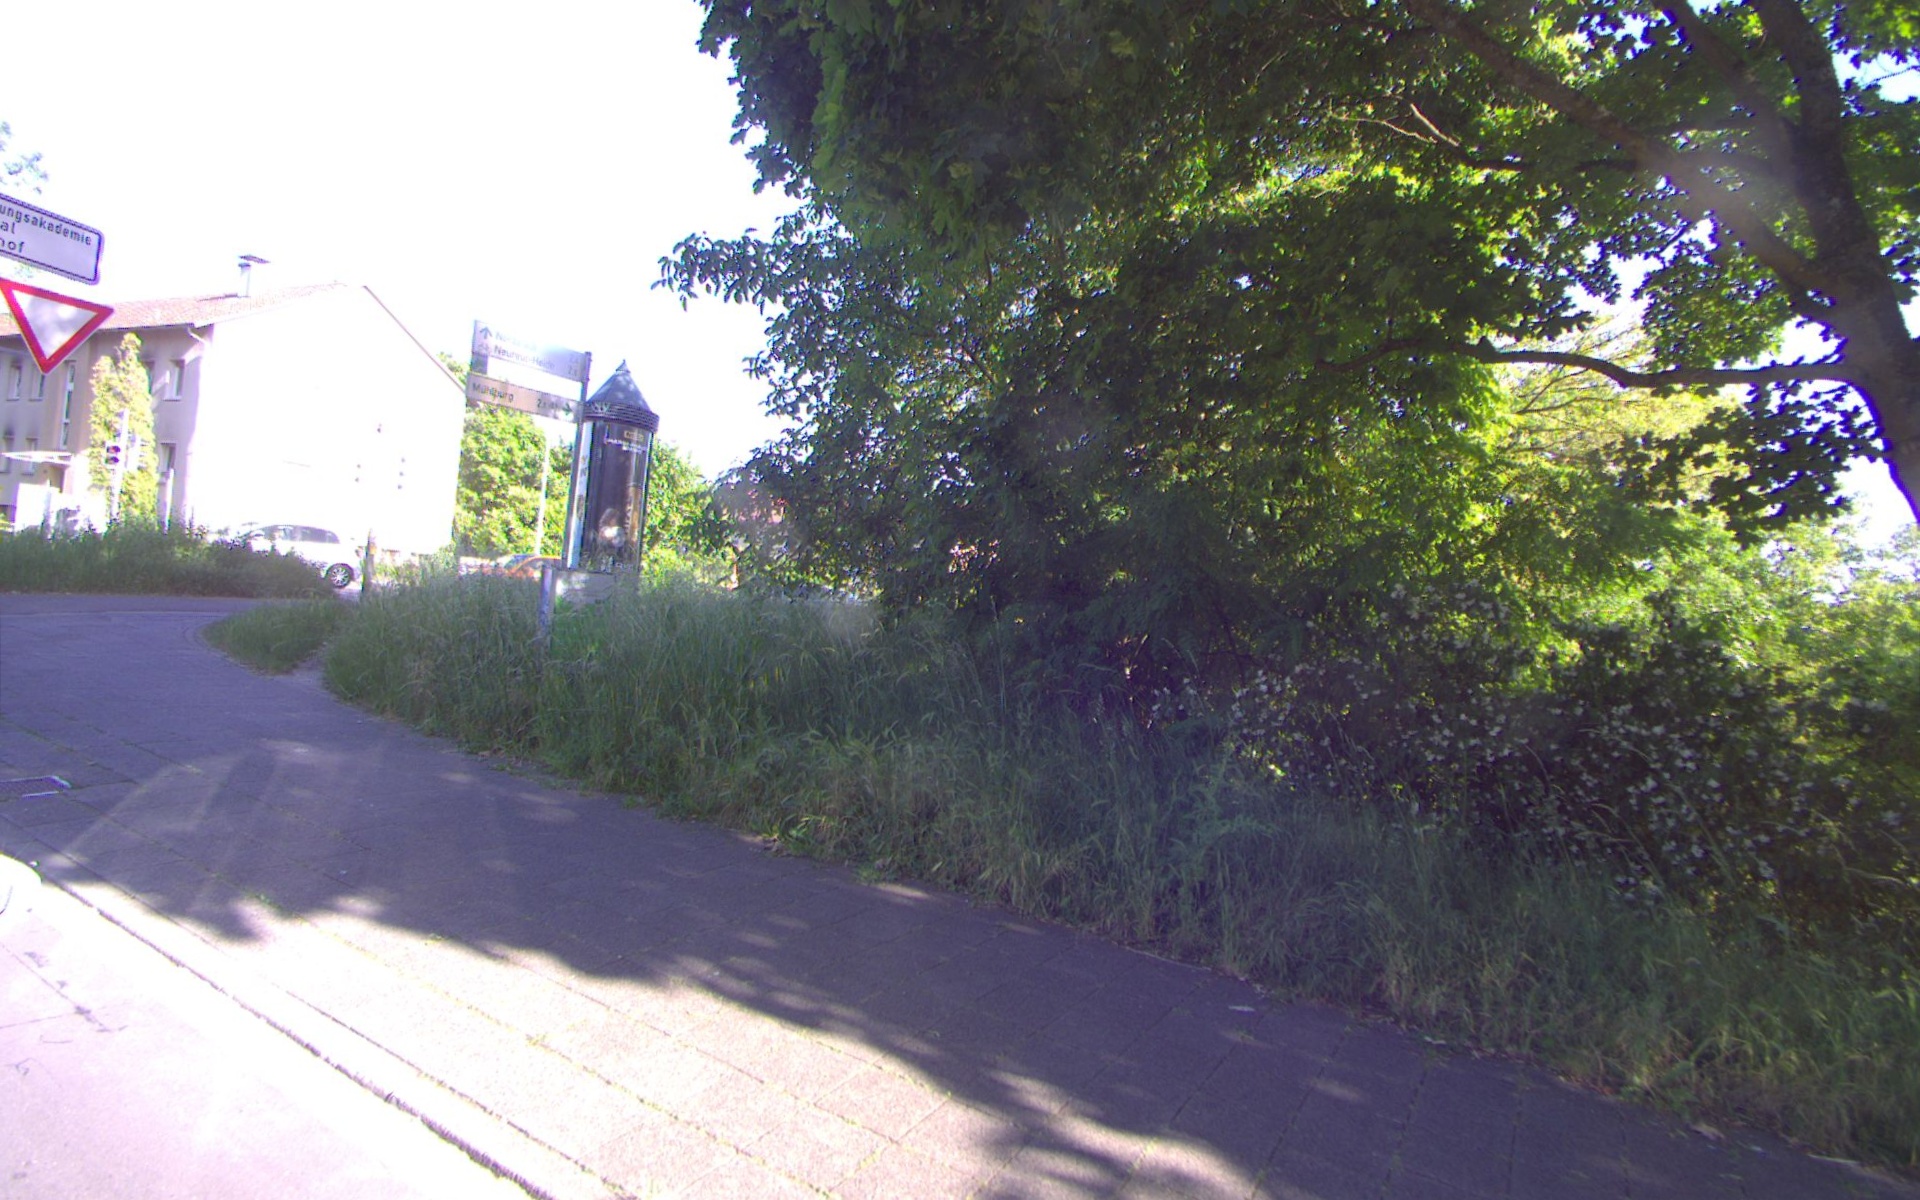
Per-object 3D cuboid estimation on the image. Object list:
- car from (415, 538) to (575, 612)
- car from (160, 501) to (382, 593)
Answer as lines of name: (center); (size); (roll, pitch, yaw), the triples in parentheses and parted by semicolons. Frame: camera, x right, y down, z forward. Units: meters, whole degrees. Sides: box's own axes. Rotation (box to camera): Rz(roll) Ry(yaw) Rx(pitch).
car: (-13.857, -0.708, 30.193); (1.727, 1.601, 3.997); (7, -2, 29)
car: (-17.006, -1.261, 25.064); (1.727, 1.581, 4.117); (7, -2, 29)
